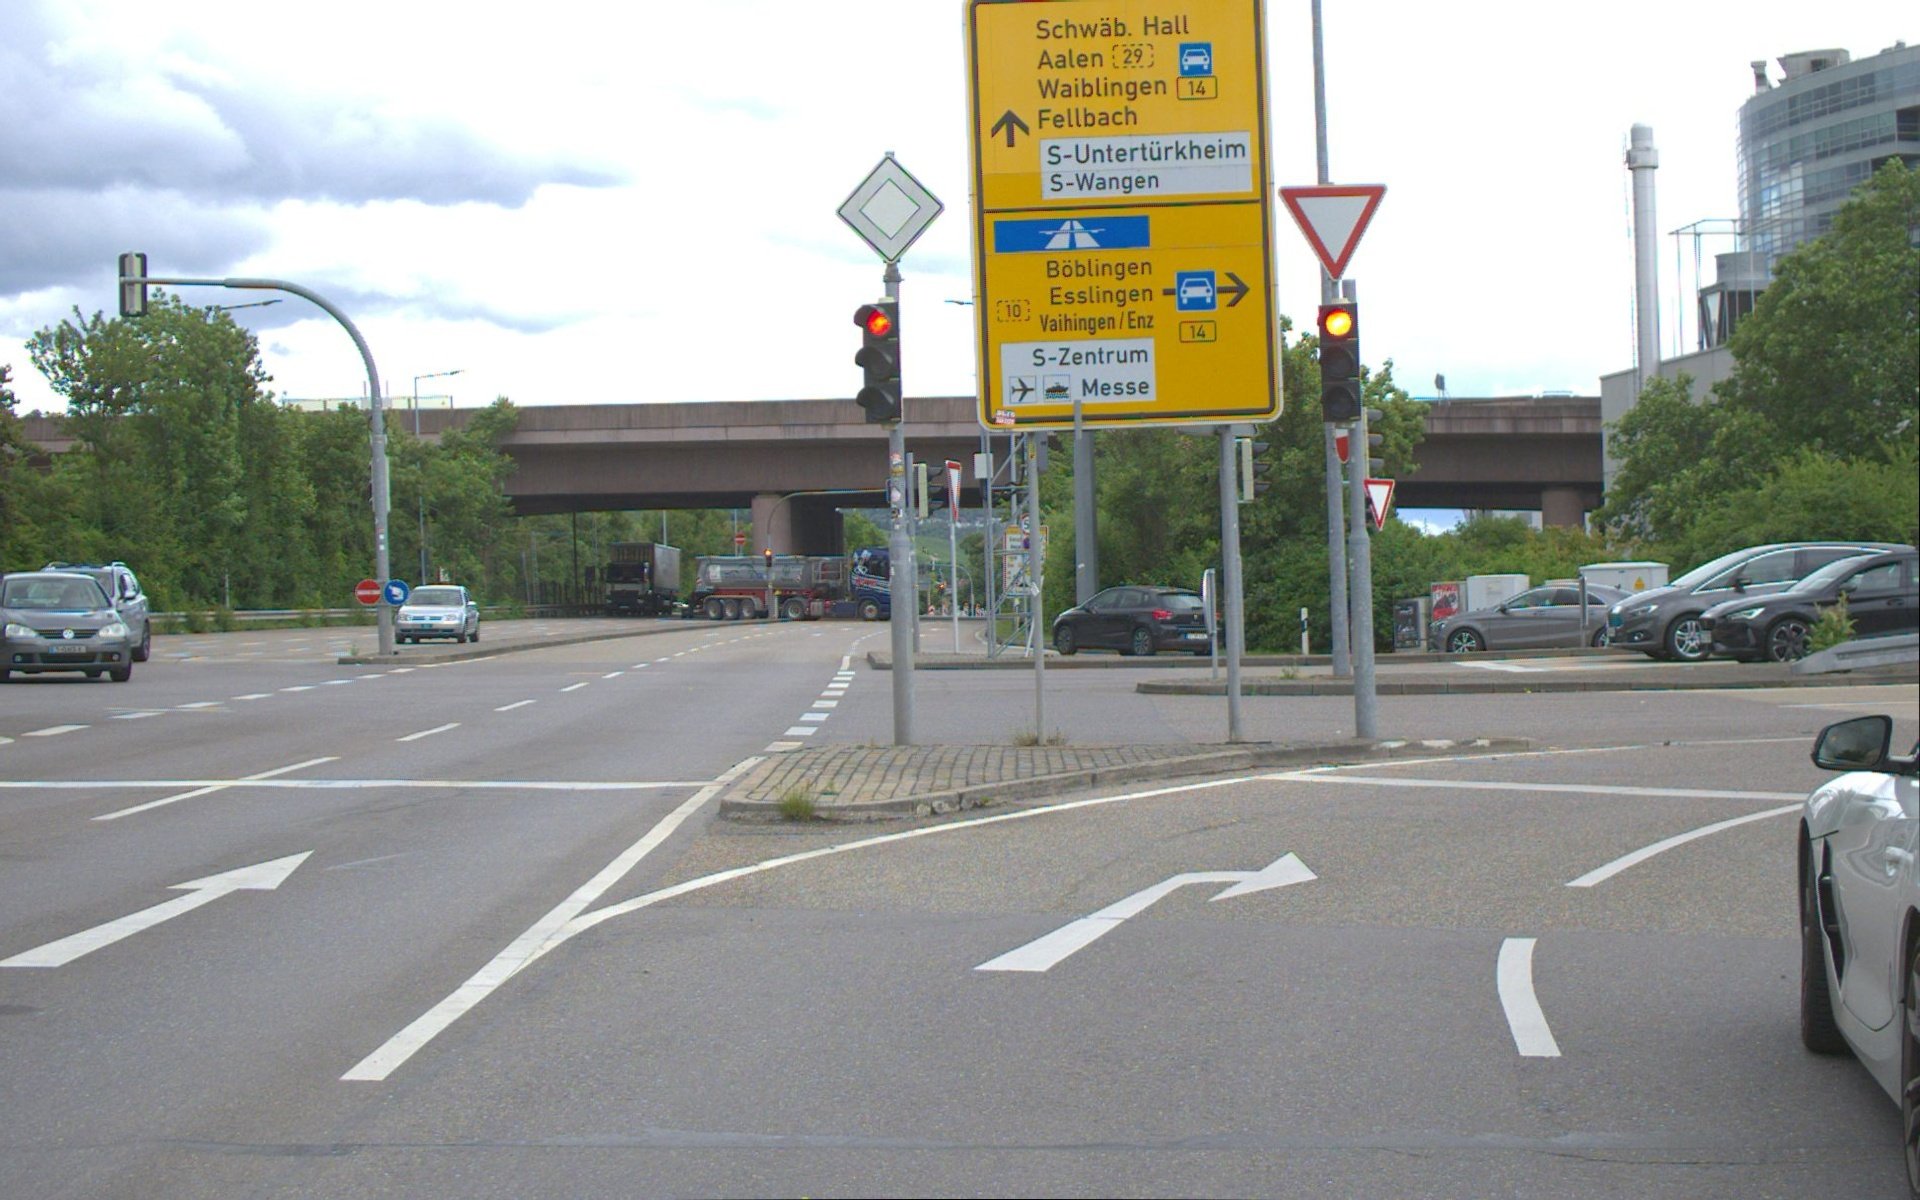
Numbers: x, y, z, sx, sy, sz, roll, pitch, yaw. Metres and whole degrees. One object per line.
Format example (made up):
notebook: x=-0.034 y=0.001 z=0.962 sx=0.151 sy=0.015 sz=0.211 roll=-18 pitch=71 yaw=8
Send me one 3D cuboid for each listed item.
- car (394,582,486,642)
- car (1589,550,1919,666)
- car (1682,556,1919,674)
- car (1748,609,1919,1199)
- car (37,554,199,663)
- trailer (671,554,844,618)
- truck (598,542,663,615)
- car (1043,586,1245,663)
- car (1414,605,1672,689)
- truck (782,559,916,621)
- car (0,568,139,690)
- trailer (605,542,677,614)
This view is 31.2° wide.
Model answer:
car: x=-12.902 y=0.282 z=85.468 sx=1.724 sy=1.396 sz=4.066 roll=-1 pitch=1 yaw=-1
car: x=11.560 y=0.091 z=49.286 sx=4.678 sy=1.566 sz=1.956 roll=-1 pitch=1 yaw=-2
car: x=12.063 y=0.171 z=45.304 sx=4.604 sy=1.452 sz=1.956 roll=-1 pitch=1 yaw=-5
car: x=3.072 y=0.707 z=8.448 sx=1.805 sy=1.287 sz=4.262 roll=0 pitch=1 yaw=8
car: x=-14.137 y=0.120 z=57.960 sx=1.724 sy=1.731 sz=4.556 roll=-1 pitch=1 yaw=-2
trailer: x=-9.832 y=-0.687 z=166.360 sx=8.560 sy=2.615 sz=2.604 roll=4 pitch=1 yaw=37
truck: x=-18.991 y=-1.281 z=198.393 sx=2.872 sy=4.070 sz=6.487 roll=1 pitch=1 yaw=1
car: x=3.640 y=0.510 z=68.688 sx=1.993 sy=1.459 sz=4.110 roll=1 pitch=-2 yaw=-33
car: x=10.362 y=0.843 z=61.160 sx=4.103 sy=1.437 sz=1.996 roll=-1 pitch=-2 yaw=30
truck: x=-5.299 y=-0.450 z=164.075 sx=5.765 sy=2.615 sz=2.619 roll=3 pitch=0 yaw=16
car: x=-12.526 y=0.426 z=45.839 sx=1.724 sy=1.457 sz=4.243 roll=3 pitch=-4 yaw=-33
trailer: x=-18.840 y=-1.337 z=203.757 sx=2.872 sy=4.070 sz=11.426 roll=1 pitch=1 yaw=1
